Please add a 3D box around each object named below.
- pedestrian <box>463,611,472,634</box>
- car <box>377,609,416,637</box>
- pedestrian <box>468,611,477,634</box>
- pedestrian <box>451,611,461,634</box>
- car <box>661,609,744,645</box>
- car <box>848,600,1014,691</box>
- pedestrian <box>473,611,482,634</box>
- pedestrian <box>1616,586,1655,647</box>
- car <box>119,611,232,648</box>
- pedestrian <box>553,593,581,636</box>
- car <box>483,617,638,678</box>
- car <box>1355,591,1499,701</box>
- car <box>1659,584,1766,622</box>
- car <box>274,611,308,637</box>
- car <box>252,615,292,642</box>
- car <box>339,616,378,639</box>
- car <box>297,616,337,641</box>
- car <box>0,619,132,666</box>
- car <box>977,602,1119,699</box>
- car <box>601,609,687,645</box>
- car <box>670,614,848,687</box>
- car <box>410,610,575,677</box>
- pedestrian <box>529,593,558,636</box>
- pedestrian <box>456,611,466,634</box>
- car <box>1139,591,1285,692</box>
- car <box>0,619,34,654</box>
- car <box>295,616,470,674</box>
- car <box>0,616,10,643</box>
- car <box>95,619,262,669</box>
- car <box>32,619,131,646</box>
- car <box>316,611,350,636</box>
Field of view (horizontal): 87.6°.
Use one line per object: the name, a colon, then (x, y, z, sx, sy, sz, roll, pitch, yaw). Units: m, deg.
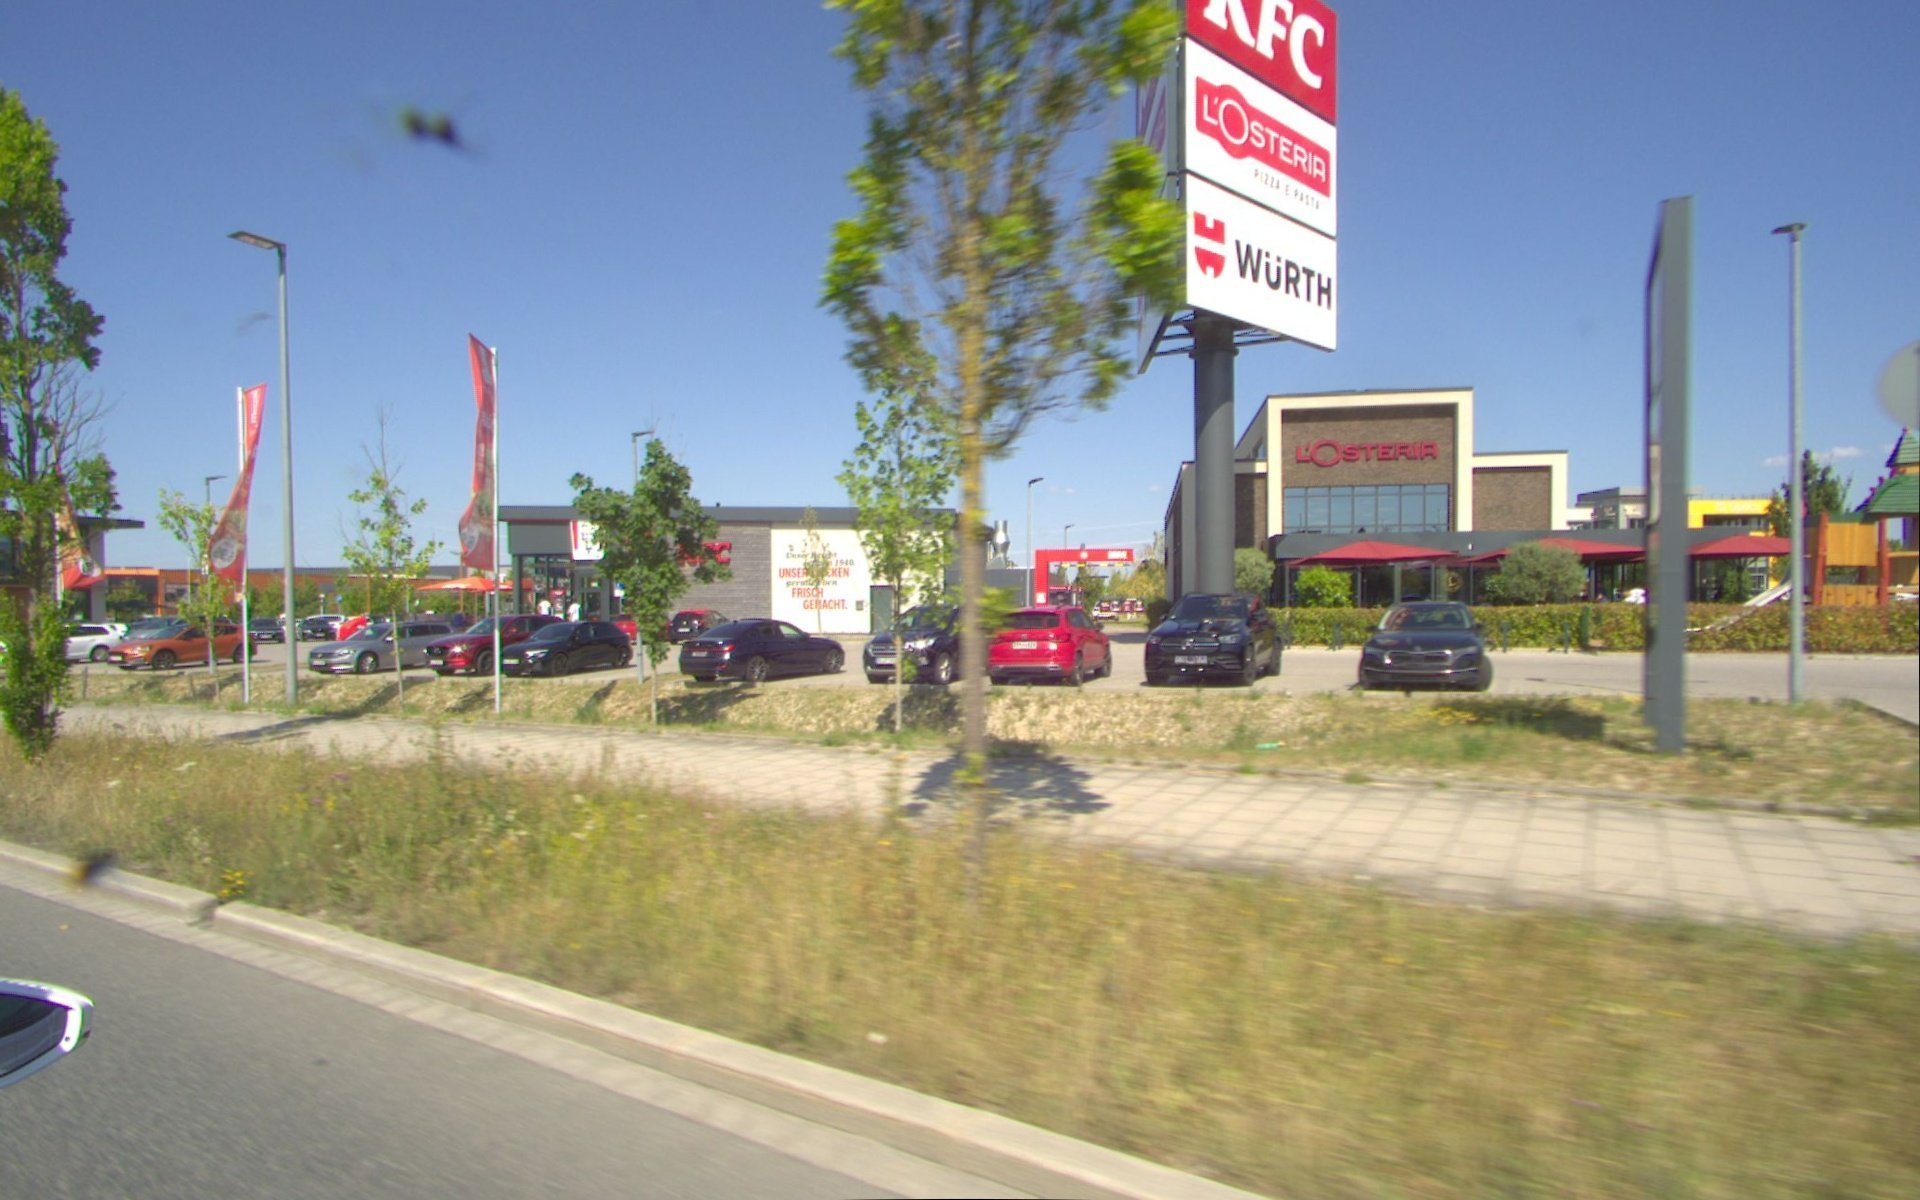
pedestrian: (-27.282, 1.249, 55.478, 0.287, 1.257, 0.380, -1, 1, 9)
car: (-38.231, 1.534, 67.916, 1.769, 1.780, 4.139, -1, 0, -37)
pedestrian: (-26.994, 1.245, 55.433, 0.287, 1.257, 0.380, -1, 1, 9)
pedestrian: (-27.560, 1.238, 54.712, 0.287, 1.257, 0.380, -1, 1, 9)
car: (-11.394, 1.156, 44.639, 1.833, 1.450, 4.567, 0, 1, 10)
car: (-0.515, 0.912, 22.350, 1.763, 1.758, 4.401, 0, 1, 28)
pedestrian: (-26.684, 1.241, 55.391, 0.287, 1.257, 0.380, -1, 1, 9)
pedestrian: (19.957, 0.496, 29.588, 0.806, 1.772, 0.518, -1, 0, 14)
car: (-37.541, 1.372, 48.069, 1.757, 1.657, 4.167, -1, 0, 9)
pedestrian: (-19.122, 0.696, 48.792, 0.874, 2.040, 0.915, -1, 0, 14)
car: (-11.135, 1.278, 28.236, 1.759, 1.469, 4.159, 0, 1, 19)
car: (7.955, 0.664, 17.058, 1.963, 1.587, 4.404, 0, 1, 26)
car: (39.479, 0.162, 52.724, 2.009, 1.839, 4.924, -1, 0, 2)
car: (-47.452, 1.680, 70.994, 1.769, 1.780, 4.139, -1, 0, -37)
car: (-40.048, 1.655, 58.246, 1.769, 1.470, 4.139, -1, 0, -37)
car: (-39.202, 1.767, 65.246, 1.769, 1.470, 4.139, -1, 0, -37)
car: (-39.810, 1.717, 61.967, 1.769, 1.470, 4.139, -1, 0, -37)
car: (-33.769, 1.525, 37.054, 1.835, 1.510, 4.533, 0, 0, 17)
car: (1.963, 0.945, 20.986, 1.761, 1.758, 4.408, 0, 1, 22)
car: (-14.160, 1.187, 45.158, 1.833, 1.450, 4.567, 0, 1, 10)
car: (-4.736, 1.138, 24.231, 1.764, 1.469, 4.399, 0, 1, 30)
car: (-13.459, 1.190, 29.111, 1.838, 1.687, 4.153, 0, 1, 24)
pedestrian: (-20.354, 0.712, 48.955, 0.874, 2.040, 0.915, -1, 0, 14)
pedestrian: (-27.261, 1.235, 54.680, 0.287, 1.257, 0.380, -1, 1, 9)
car: (5.244, 0.725, 20.301, 1.908, 1.758, 4.979, 0, 1, 26)
car: (-42.773, 1.613, 44.608, 1.769, 1.481, 4.139, -1, 0, -37)
car: (-17.689, 1.320, 30.942, 1.836, 1.510, 4.558, 0, 1, 21)
car: (-61.551, 1.880, 63.303, 1.777, 1.724, 3.969, -1, 0, -38)
car: (-26.793, 1.452, 34.513, 1.835, 1.510, 4.211, 0, 0, 17)
car: (-49.382, 1.798, 56.380, 3.947, 1.391, 1.787, -1, 0, -34)
car: (-46.768, 1.740, 74.660, 1.769, 1.780, 4.139, -1, 0, -37)
